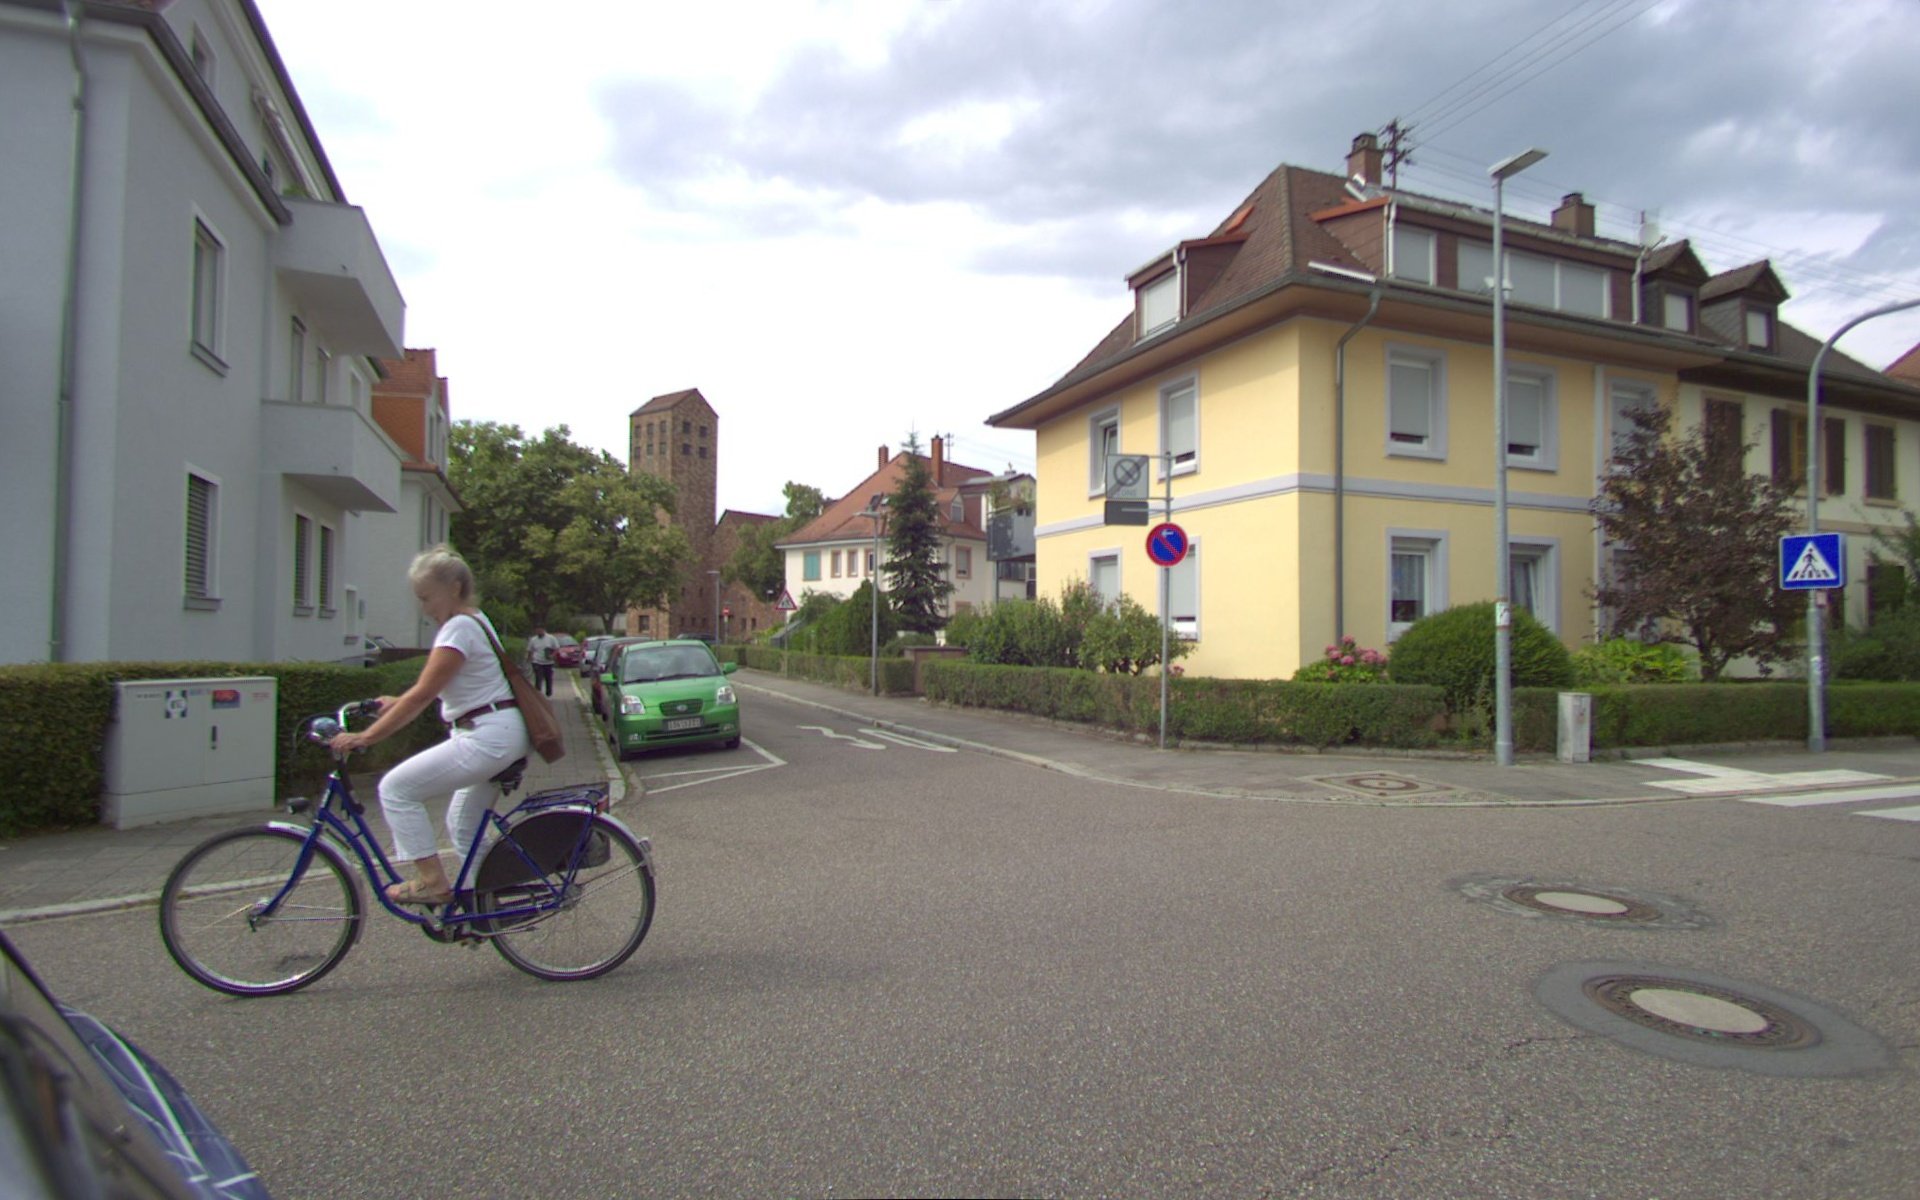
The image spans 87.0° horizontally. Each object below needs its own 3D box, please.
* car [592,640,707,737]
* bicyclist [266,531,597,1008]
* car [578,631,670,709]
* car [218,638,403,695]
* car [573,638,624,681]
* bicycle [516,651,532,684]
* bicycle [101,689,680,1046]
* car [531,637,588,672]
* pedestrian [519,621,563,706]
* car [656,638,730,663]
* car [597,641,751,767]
[{"bbox_3d":[-5.747,1.522,18.502,1.622,1.507,3.492,-2,-1,-23],"label":"car"},{"bbox_3d":[-2.013,0.604,3.985,0.960,1.679,0.699,-1,-2,-5],"label":"bicyclist"},{"bbox_3d":[-7.520,1.492,22.485,1.622,1.507,3.492,-2,-1,-23],"label":"car"},{"bbox_3d":[-17.797,1.809,27.963,3.930,1.475,2.006,1,-3,-21],"label":"car"},{"bbox_3d":[-14.217,2.300,39.706,1.622,1.507,3.492,-2,-1,-23],"label":"car"},{"bbox_3d":[-15.267,2.345,35.430,0.416,1.112,2.122,1,-3,-26],"label":"bicycle"},{"bbox_3d":[-2.106,0.967,3.962,1.844,1.161,0.708,-1,-2,-5],"label":"bicycle"},{"bbox_3d":[-18.961,2.576,47.817,1.624,1.507,3.489,-2,-1,-37],"label":"car"},{"bbox_3d":[-9.574,1.440,23.171,0.869,1.893,1.082,1,-2,-21],"label":"pedestrian"},{"bbox_3d":[-16.336,3.086,61.935,4.154,1.475,1.690,1,-1,-22],"label":"car"},{"bbox_3d":[-4.118,1.342,14.218,1.622,1.432,3.492,-2,-1,-23],"label":"car"}]
